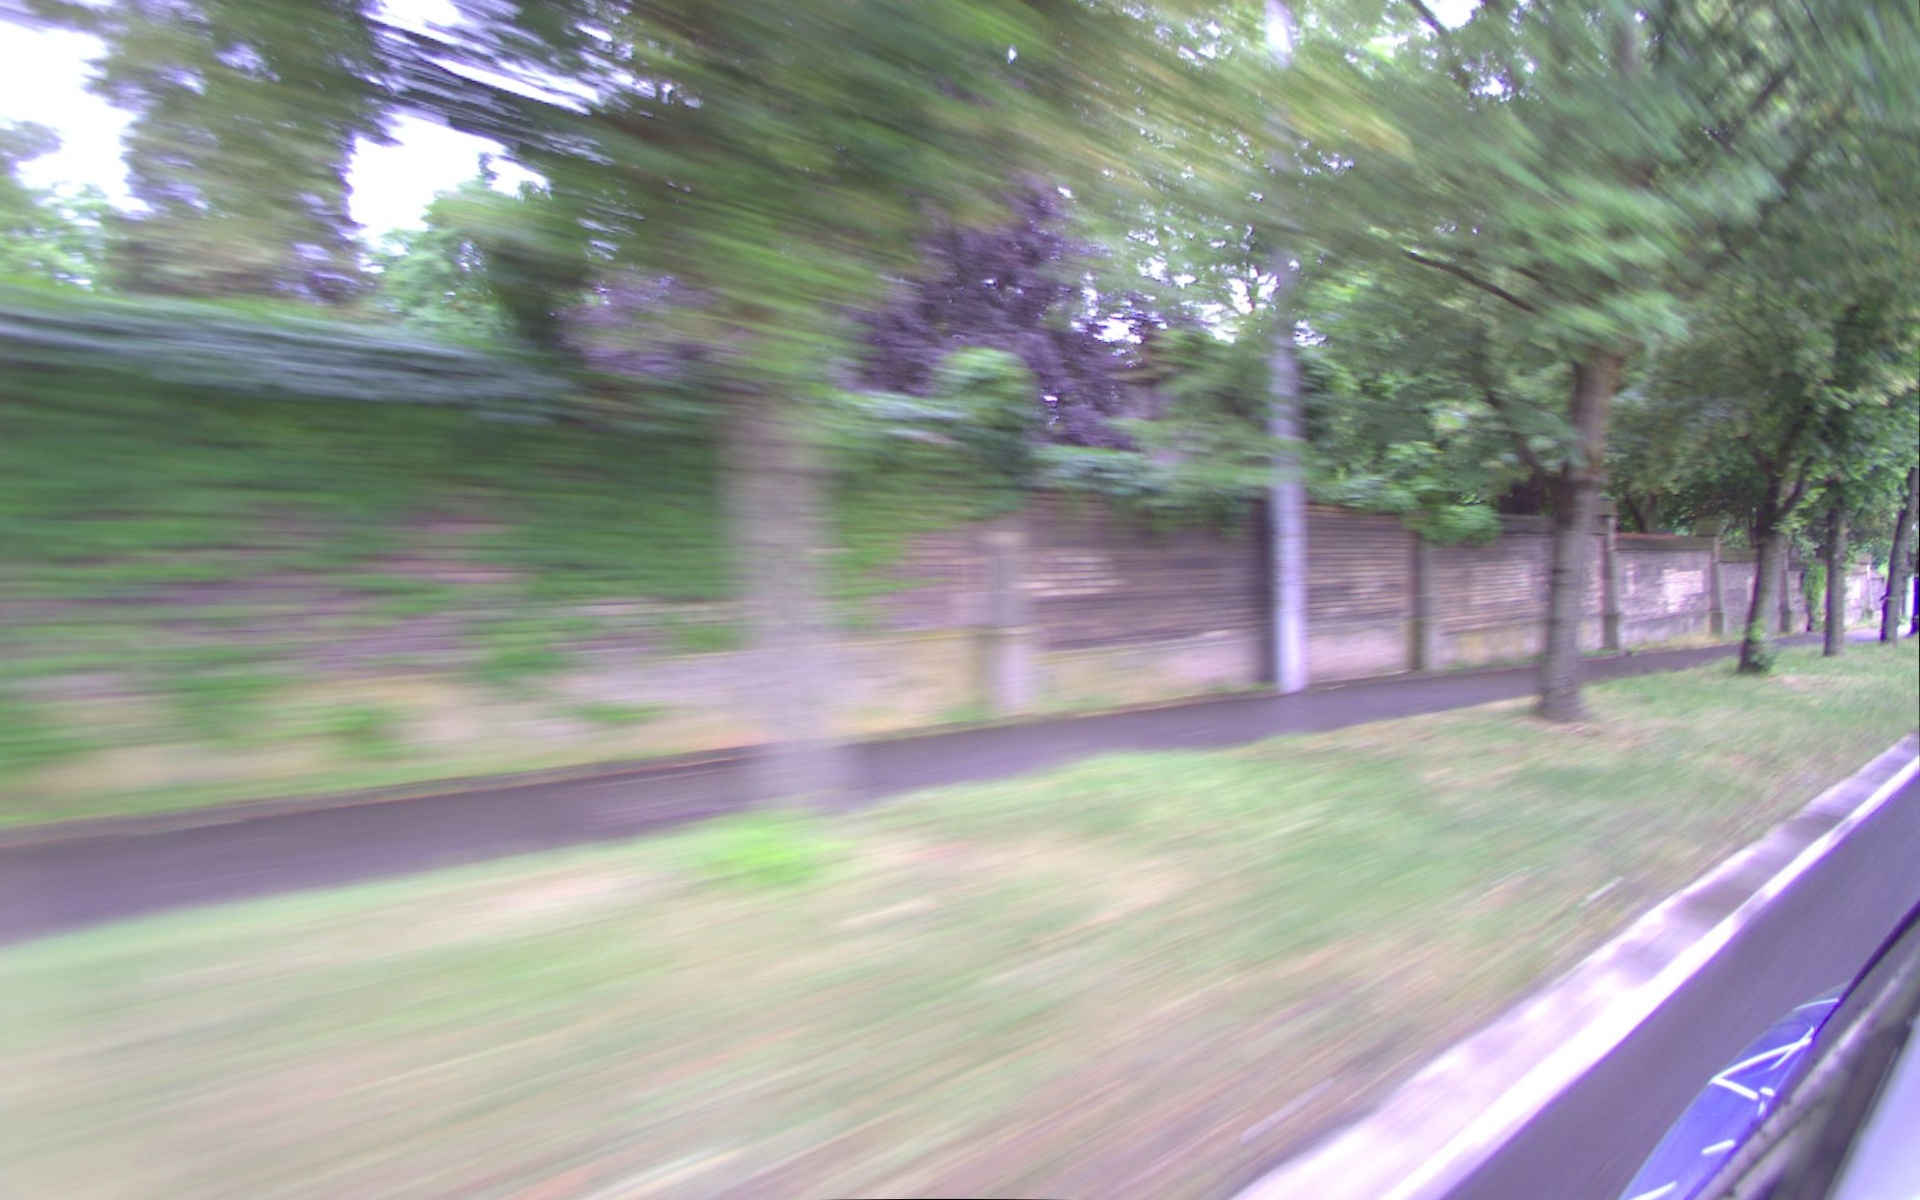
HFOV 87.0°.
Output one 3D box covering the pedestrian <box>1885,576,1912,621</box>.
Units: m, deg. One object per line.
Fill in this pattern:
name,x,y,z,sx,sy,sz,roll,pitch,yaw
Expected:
pedestrian,38.301,-0.075,41.304,0.886,1.801,0.709,0,1,-44
